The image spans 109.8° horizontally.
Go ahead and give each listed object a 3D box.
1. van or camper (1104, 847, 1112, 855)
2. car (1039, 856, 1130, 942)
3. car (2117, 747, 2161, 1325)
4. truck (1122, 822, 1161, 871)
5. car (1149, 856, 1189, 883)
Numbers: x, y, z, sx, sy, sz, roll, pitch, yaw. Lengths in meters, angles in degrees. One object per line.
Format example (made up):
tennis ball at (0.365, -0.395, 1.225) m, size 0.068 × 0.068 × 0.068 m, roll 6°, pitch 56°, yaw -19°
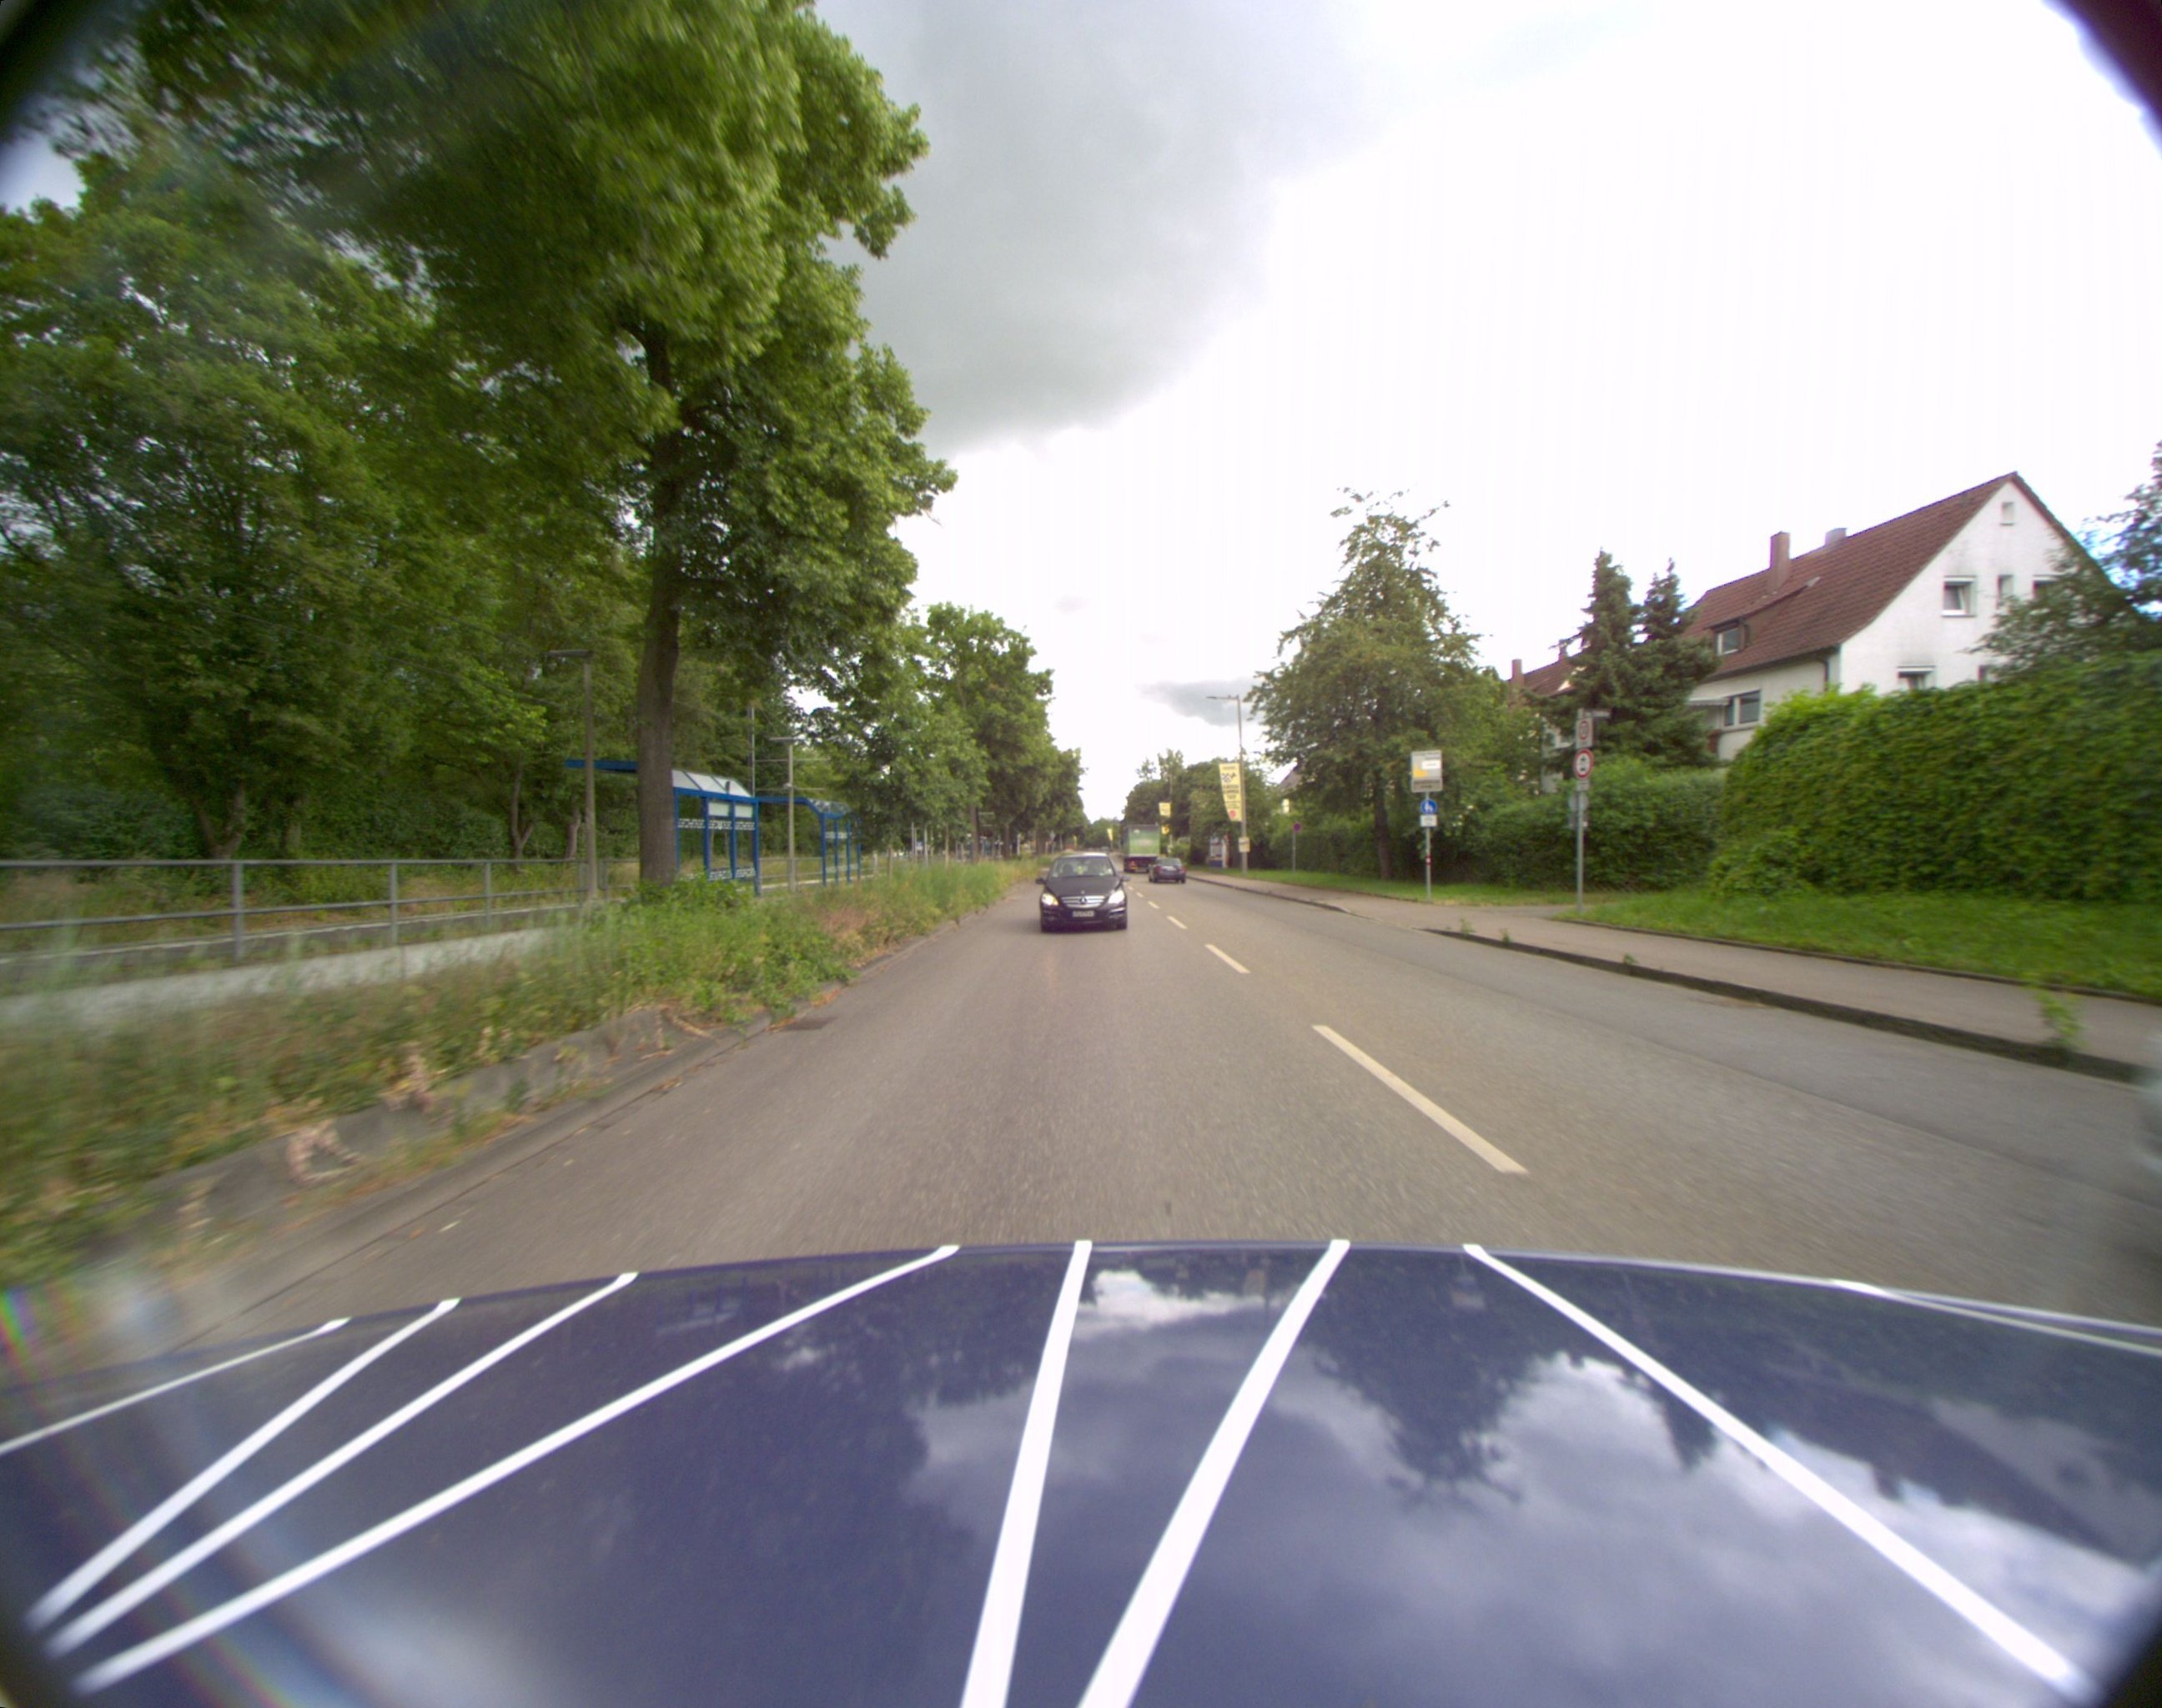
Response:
van or camper at (7.276, -0.792, 203.299) m, size 1.917 × 1.888 × 4.811 m, roll -1°, pitch 0°, yaw 1°
car at (0.069, 0.866, 16.806) m, size 1.683 × 1.565 × 4.482 m, roll -2°, pitch 1°, yaw 0°
car at (4.529, 0.650, 0.148) m, size 1.911 × 1.921 × 4.910 m, roll 0°, pitch 1°, yaw 0°
truck at (5.261, -0.701, 68.161) m, size 2.556 × 4.020 × 10.617 m, roll 1°, pitch 1°, yaw 0°
car at (4.885, 0.830, 42.758) m, size 1.737 × 1.367 × 4.239 m, roll 1°, pitch 0°, yaw 0°
